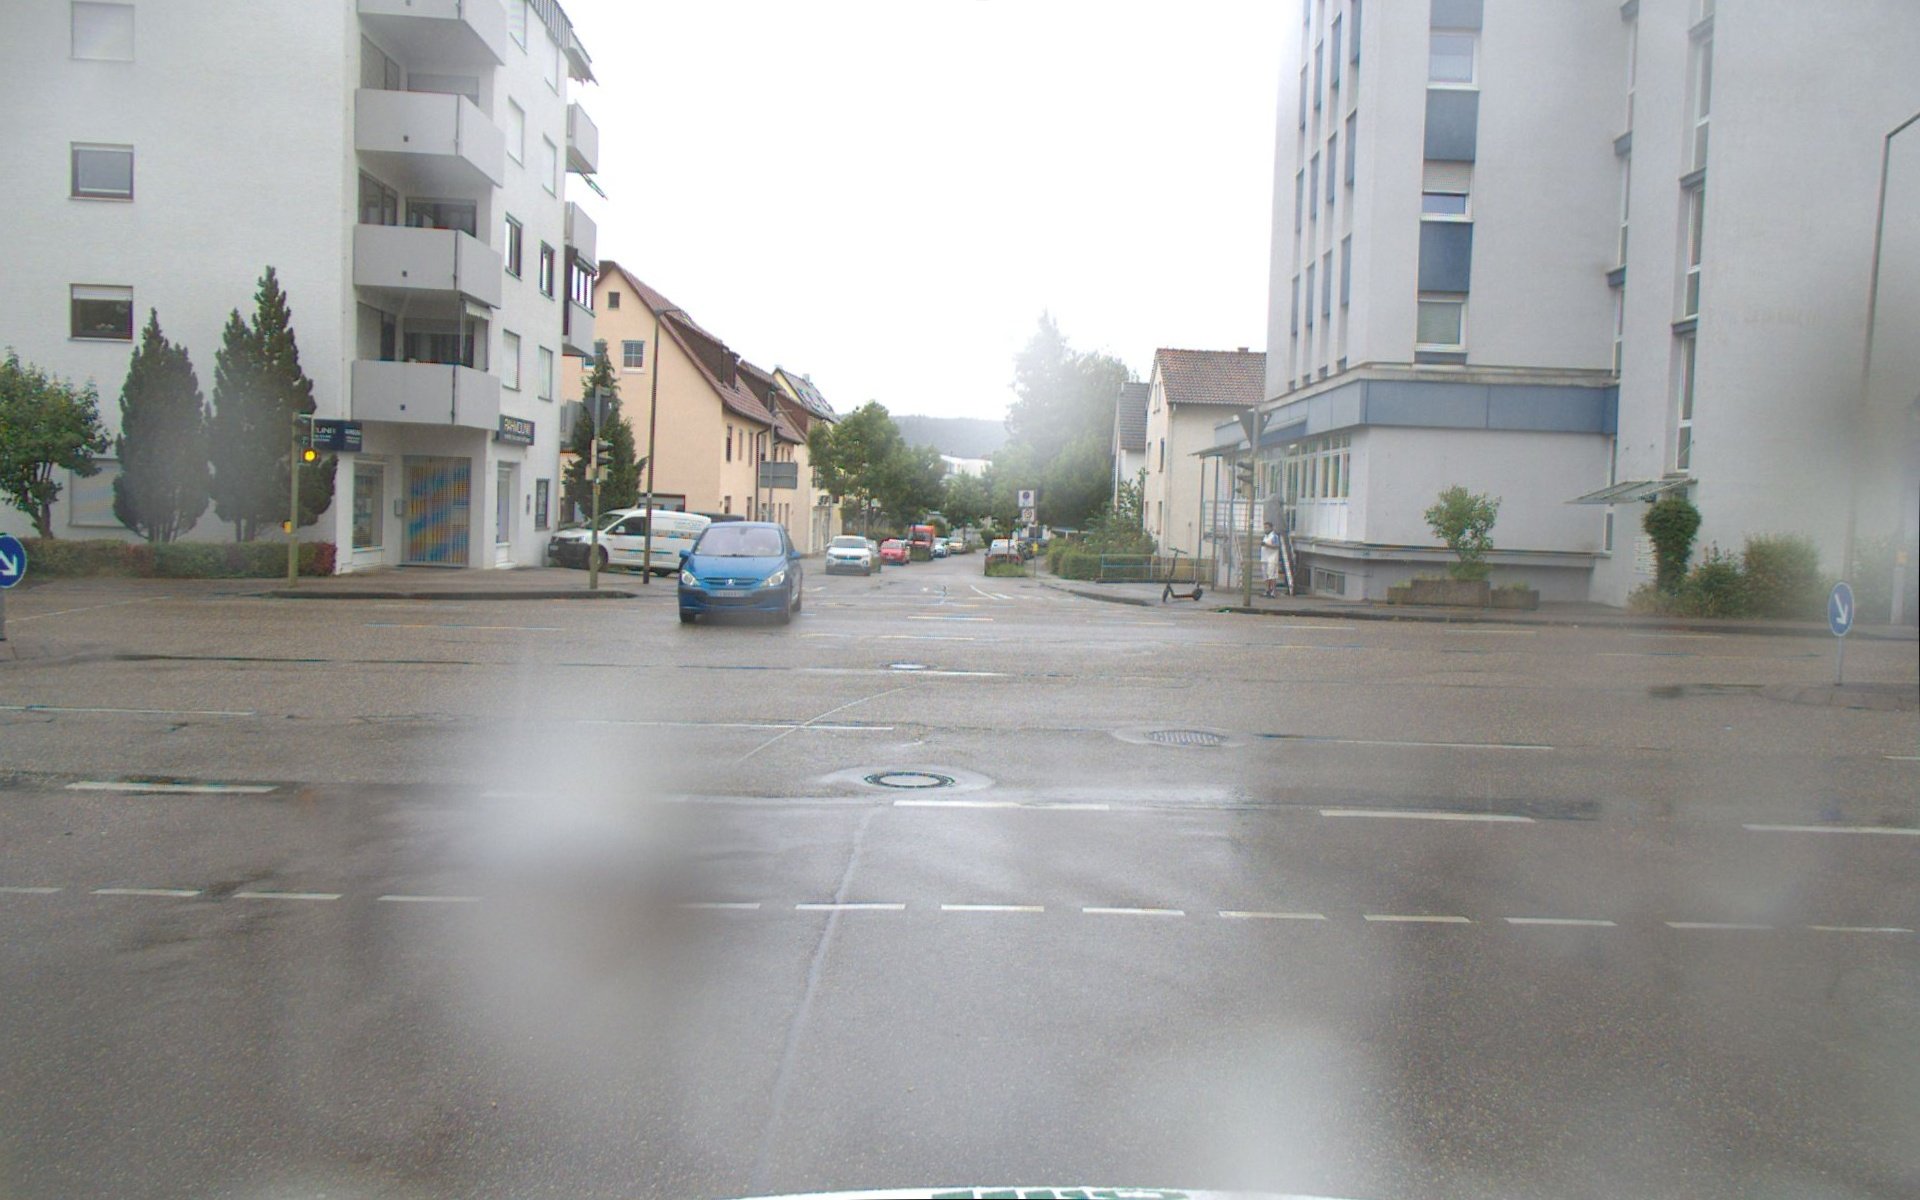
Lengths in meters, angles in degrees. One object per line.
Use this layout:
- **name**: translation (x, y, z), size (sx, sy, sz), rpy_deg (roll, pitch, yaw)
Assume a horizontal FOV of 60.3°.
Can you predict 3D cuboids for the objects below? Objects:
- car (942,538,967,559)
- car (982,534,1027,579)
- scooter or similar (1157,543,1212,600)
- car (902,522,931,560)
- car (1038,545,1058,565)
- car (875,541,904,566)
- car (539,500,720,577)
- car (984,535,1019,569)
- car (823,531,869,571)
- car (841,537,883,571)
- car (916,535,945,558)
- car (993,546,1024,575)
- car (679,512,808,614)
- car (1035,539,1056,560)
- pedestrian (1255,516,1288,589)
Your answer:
- **car**: translation (-0.494, -4.783, 153.448), size (1.951, 1.736, 4.002), rpy_deg (1, -1, 6)
- **car**: translation (2.187, -2.090, 80.368), size (1.951, 2.049, 4.002), rpy_deg (1, -1, 4)
- **scooter or similar**: translation (5.106, -0.646, 37.639), size (1.039, 1.249, 0.800), rpy_deg (1, -1, -10)
- **car**: translation (-3.287, -4.483, 126.300), size (2.171, 2.816, 5.724), rpy_deg (0, 1, -1)
- **car**: translation (9.060, -4.633, 169.802), size (1.951, 2.048, 4.003), rpy_deg (1, 1, 4)
- **car**: translation (-4.410, -2.911, 103.303), size (1.732, 1.545, 3.998), rpy_deg (0, 1, -3)
- **car**: translation (-9.231, -1.685, 46.477), size (4.684, 1.809, 1.748), rpy_deg (3, -1, -40)
- **car**: translation (2.615, -2.970, 102.485), size (1.951, 2.048, 4.003), rpy_deg (1, 1, 4)
- **car**: translation (-4.580, -1.967, 66.810), size (1.732, 1.549, 3.999), rpy_deg (0, 1, -2)
- **car**: translation (-4.599, -2.180, 78.169), size (1.731, 1.545, 4.194), rpy_deg (1, 1, 0)
- **car**: translation (-2.440, -4.404, 137.616), size (1.951, 1.713, 4.002), rpy_deg (1, -1, 4)
- **car**: translation (3.459, -2.810, 117.665), size (1.951, 2.048, 4.003), rpy_deg (1, 1, 4)
- **car**: translation (-3.392, -0.530, 26.532), size (1.732, 1.471, 3.997), rpy_deg (1, -1, -3)
- **car**: translation (8.361, -4.915, 161.150), size (1.951, 2.048, 4.003), rpy_deg (1, 1, 4)
- **pedestrian**: translation (7.296, -1.107, 38.768), size (0.641, 1.680, 0.646), rpy_deg (1, -1, 0)
